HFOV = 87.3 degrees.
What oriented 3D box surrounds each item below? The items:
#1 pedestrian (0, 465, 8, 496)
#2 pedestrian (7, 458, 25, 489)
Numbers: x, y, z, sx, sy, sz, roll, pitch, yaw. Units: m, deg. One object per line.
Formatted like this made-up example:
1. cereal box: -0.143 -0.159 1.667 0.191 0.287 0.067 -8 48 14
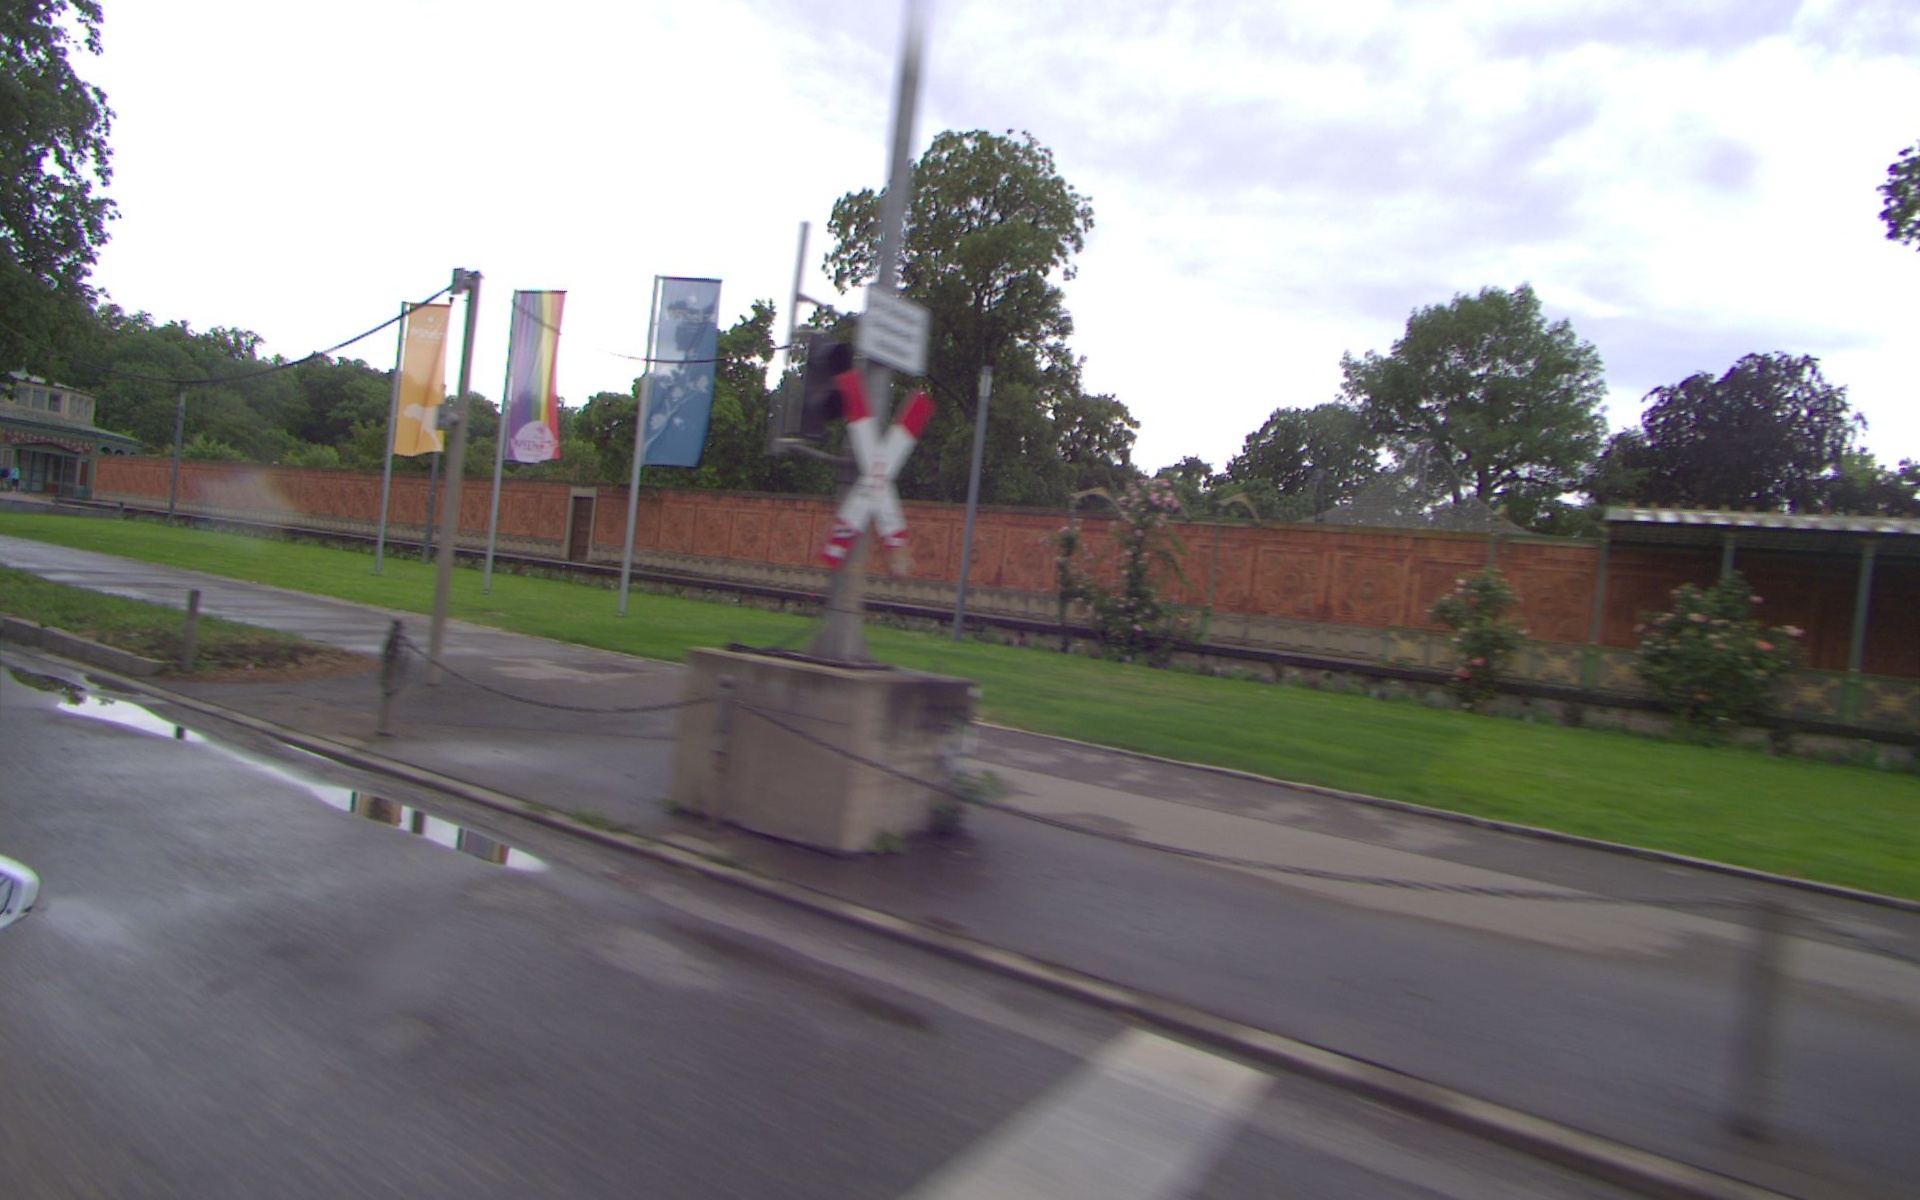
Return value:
1. pedestrian: -56.498 -7.032 59.149 0.686 1.730 0.530 5 -3 43
2. pedestrian: -55.641 -7.440 59.305 0.544 1.677 0.467 6 0 -24
